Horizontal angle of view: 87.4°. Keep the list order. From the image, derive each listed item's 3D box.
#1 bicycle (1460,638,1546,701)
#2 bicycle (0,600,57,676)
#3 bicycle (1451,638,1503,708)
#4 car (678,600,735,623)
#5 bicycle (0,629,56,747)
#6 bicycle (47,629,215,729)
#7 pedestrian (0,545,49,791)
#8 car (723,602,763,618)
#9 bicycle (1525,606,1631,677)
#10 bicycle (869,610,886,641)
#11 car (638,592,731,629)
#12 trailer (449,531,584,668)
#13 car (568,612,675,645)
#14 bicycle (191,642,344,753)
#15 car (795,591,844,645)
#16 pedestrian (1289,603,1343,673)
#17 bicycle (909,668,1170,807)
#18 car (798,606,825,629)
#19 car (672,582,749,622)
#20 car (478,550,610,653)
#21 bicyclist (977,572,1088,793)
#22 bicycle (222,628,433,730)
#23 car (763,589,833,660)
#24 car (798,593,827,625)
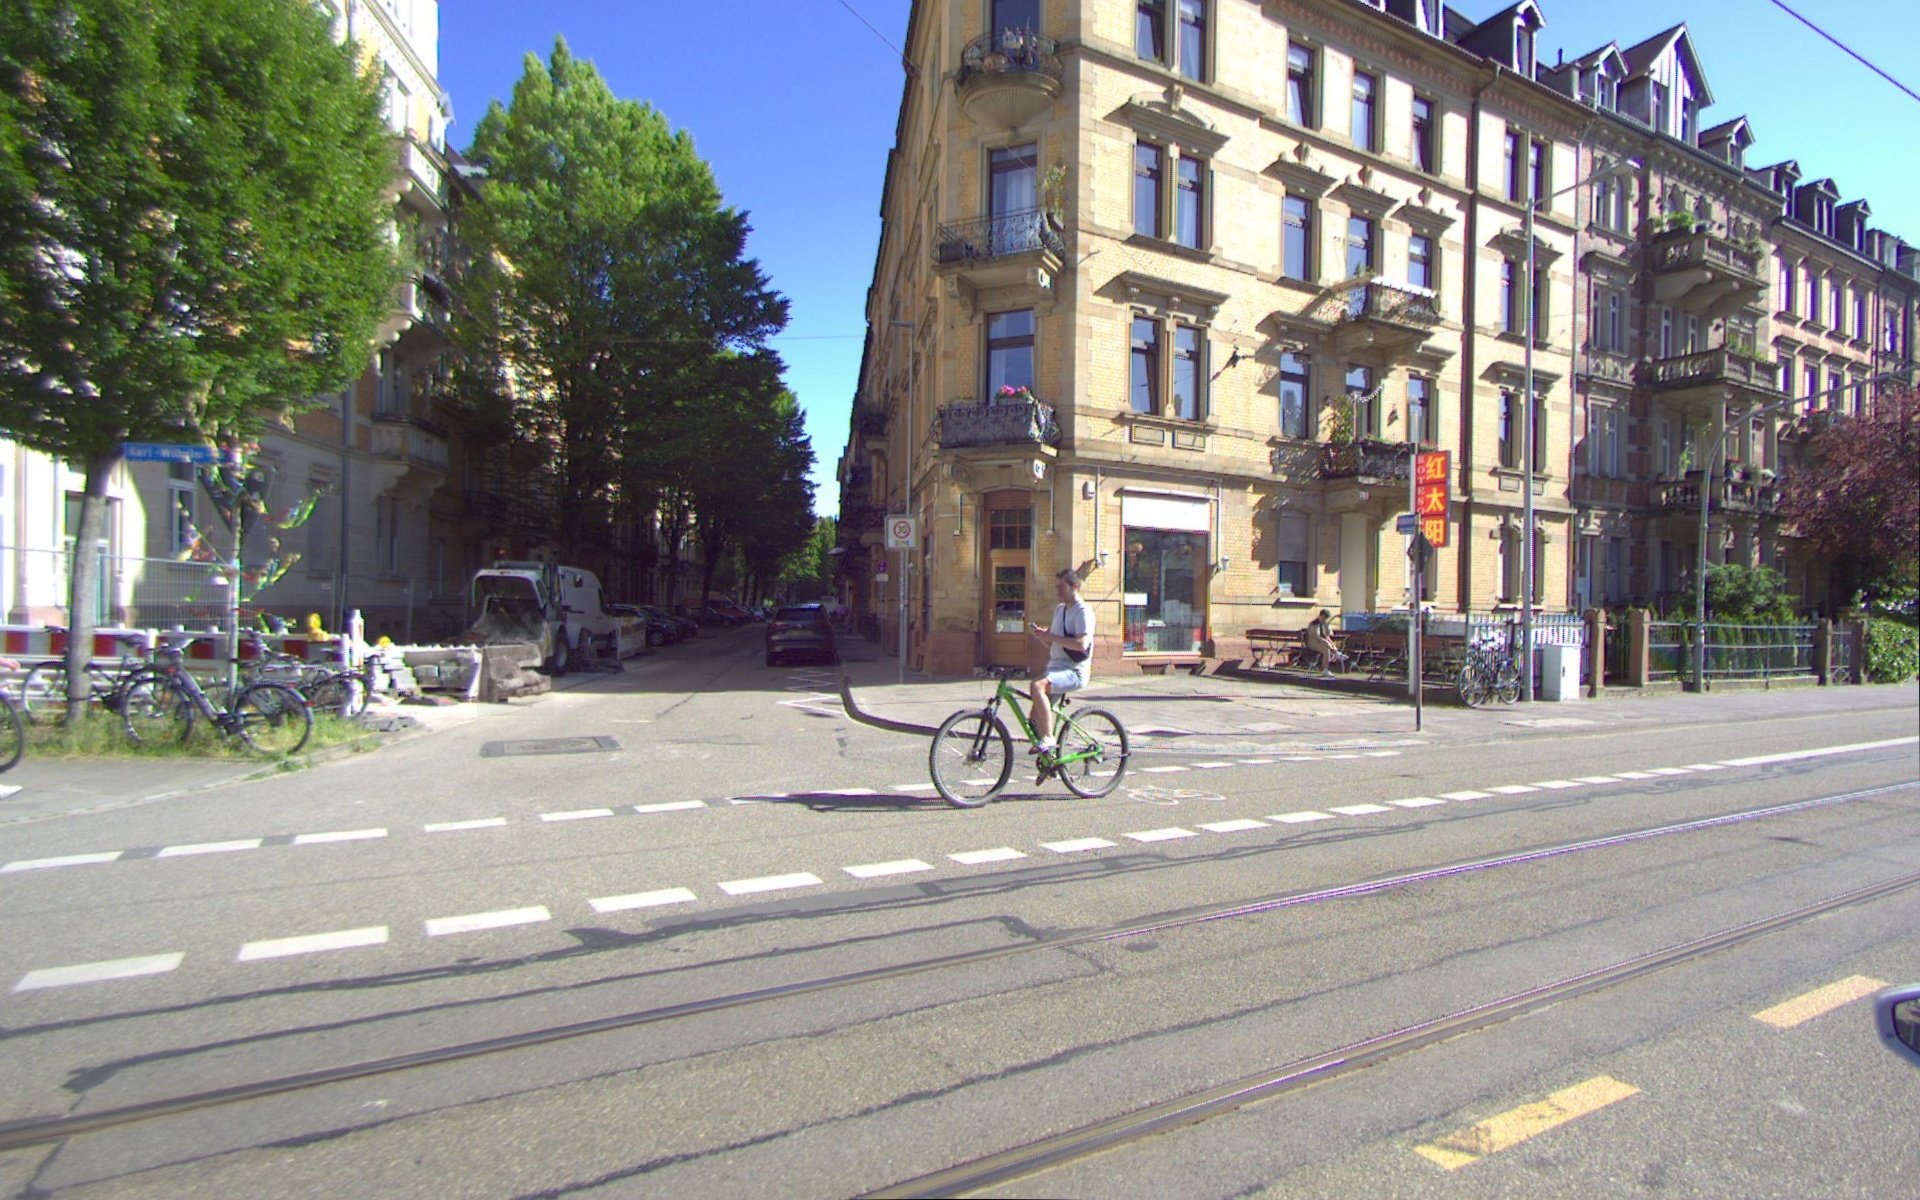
[{"bbox_3d":[9.208,1.155,17.013,1.848,1.014,0.333,1,2,-30],"label":"bicycle"},{"bbox_3d":[-13.719,0.544,14.278,0.398,1.051,1.602,0,1,-5],"label":"bicycle"},{"bbox_3d":[8.746,1.220,16.986,0.799,1.141,0.369,1,2,-30],"label":"bicycle"},{"bbox_3d":[-17.862,0.843,70.867,3.806,1.515,1.578,2,-2,-13],"label":"car"},{"bbox_3d":[-8.448,0.722,8.565,1.270,0.926,0.620,3,0,25],"label":"bicycle"},{"bbox_3d":[-8.582,0.799,10.419,1.268,0.926,0.621,3,0,8],"label":"bicycle"},{"bbox_3d":[-7.414,0.452,7.242,1.070,1.746,0.825,2,1,-32],"label":"pedestrian"},{"bbox_3d":[-21.829,1.039,101.103,3.806,1.515,1.578,2,-2,-13],"label":"car"},{"bbox_3d":[12.844,0.835,20.917,0.608,1.338,1.748,1,2,-39],"label":"bicycle"},{"bbox_3d":[-3.300,1.012,40.138,0.545,1.141,2.130,2,0,-8],"label":"bicycle"},{"bbox_3d":[-12.274,0.486,44.877,3.934,1.515,1.577,2,-2,-16],"label":"car"},{"bbox_3d":[-9.549,0.036,21.877,1.794,2.731,2.926,2,-1,-6],"label":"trailer"},{"bbox_3d":[-13.491,1.160,40.223,3.934,1.228,1.577,2,-2,-16],"label":"car"},{"bbox_3d":[-6.695,0.911,9.713,1.270,0.926,0.620,3,0,25],"label":"bicycle"},{"bbox_3d":[-4.868,0.639,34.775,1.570,1.750,3.532,0,-1,-8],"label":"car"},{"bbox_3d":[7.215,0.765,20.376,0.570,1.370,0.897,1,-2,-28],"label":"pedestrian"},{"bbox_3d":[0.673,1.029,7.915,2.177,0.938,0.458,1,-1,-30],"label":"bicycle"},{"bbox_3d":[-10.190,1.239,69.222,1.631,1.513,3.997,2,-2,-6],"label":"car"},{"bbox_3d":[-18.230,0.164,73.473,5.290,2.736,1.579,1,-2,-10],"label":"car"},{"bbox_3d":[-11.602,-0.003,28.390,1.962,2.536,4.632,4,1,-5],"label":"car"},{"bbox_3d":[0.567,0.623,7.843,0.735,1.640,0.462,1,-2,-30],"label":"bicyclist"},{"bbox_3d":[-7.002,0.834,11.252,0.569,0.989,1.986,3,0,25],"label":"bicycle"},{"bbox_3d":[-4.512,0.620,28.413,1.805,1.773,3.586,-1,2,-7],"label":"car"},{"bbox_3d":[-8.285,0.526,56.410,1.570,1.750,3.532,0,-1,-8],"label":"car"}]
